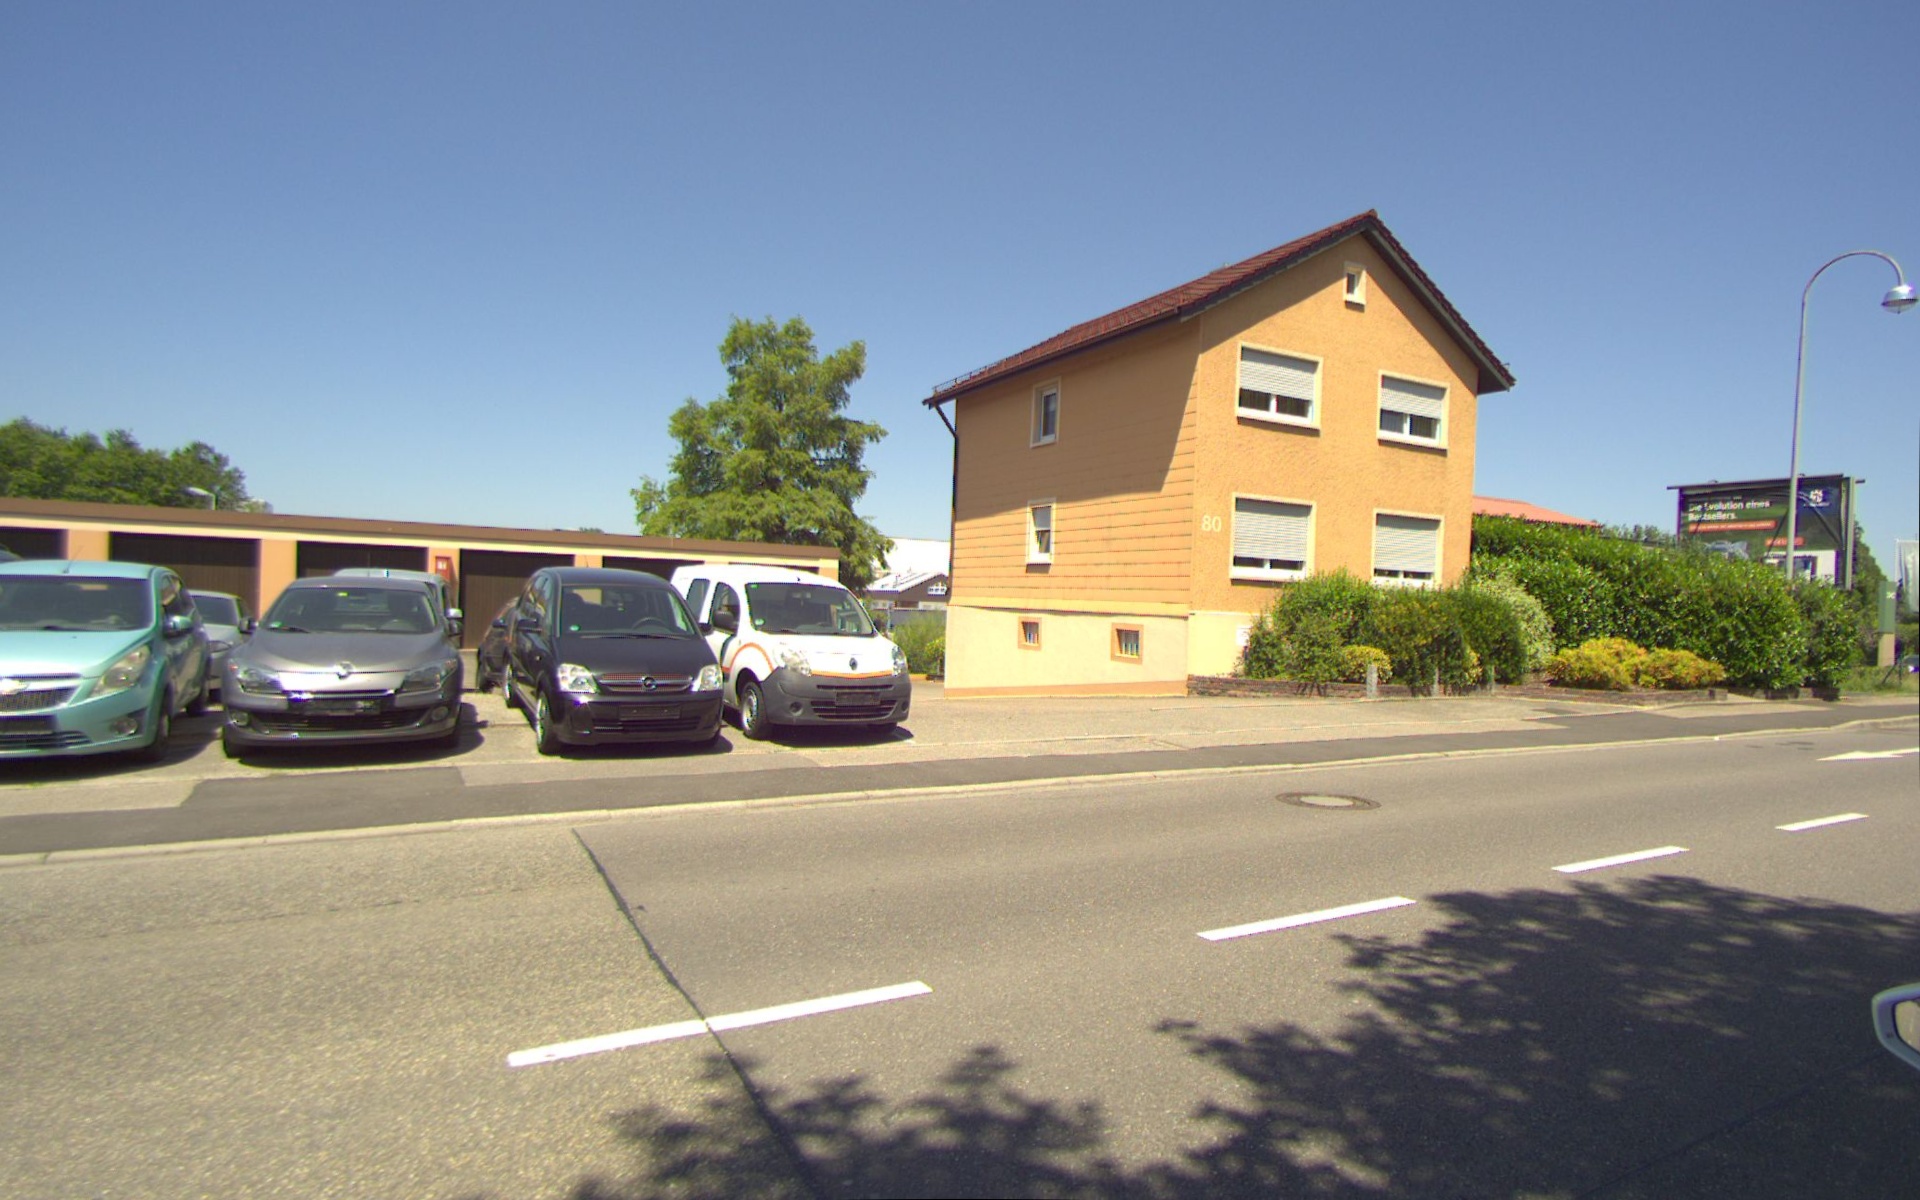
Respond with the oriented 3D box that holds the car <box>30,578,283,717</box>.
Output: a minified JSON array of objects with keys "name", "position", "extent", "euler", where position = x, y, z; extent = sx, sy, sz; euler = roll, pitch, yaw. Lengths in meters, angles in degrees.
[{"name":"car","position":[-9.605,0.493,12.330],"extent":[1.901,1.421,3.645],"euler":[2,0,-31]}]

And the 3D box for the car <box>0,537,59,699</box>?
[{"name":"car","position":[-11.817,0.170,11.223],"extent":[1.838,1.829,3.829],"euler":[2,0,-31]}]

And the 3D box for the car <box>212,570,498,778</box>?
[{"name":"car","position":[-5.675,0.556,9.552],"extent":[1.901,1.552,3.645],"euler":[2,0,-31]}]

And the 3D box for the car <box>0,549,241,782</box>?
[{"name":"car","position":[-7.476,0.427,8.511],"extent":[1.901,1.602,3.645],"euler":[2,0,-31]}]

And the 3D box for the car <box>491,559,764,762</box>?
[{"name":"car","position":[-3.592,0.509,10.421],"extent":[1.901,1.694,3.645],"euler":[2,0,-31]}]

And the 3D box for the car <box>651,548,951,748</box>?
[{"name":"car","position":[-2.058,0.461,11.929],"extent":[1.979,1.923,4.069],"euler":[2,0,-33]}]

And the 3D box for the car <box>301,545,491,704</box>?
[{"name":"car","position":[-7.531,0.279,13.400],"extent":[1.901,1.799,3.645],"euler":[2,0,-31]}]
